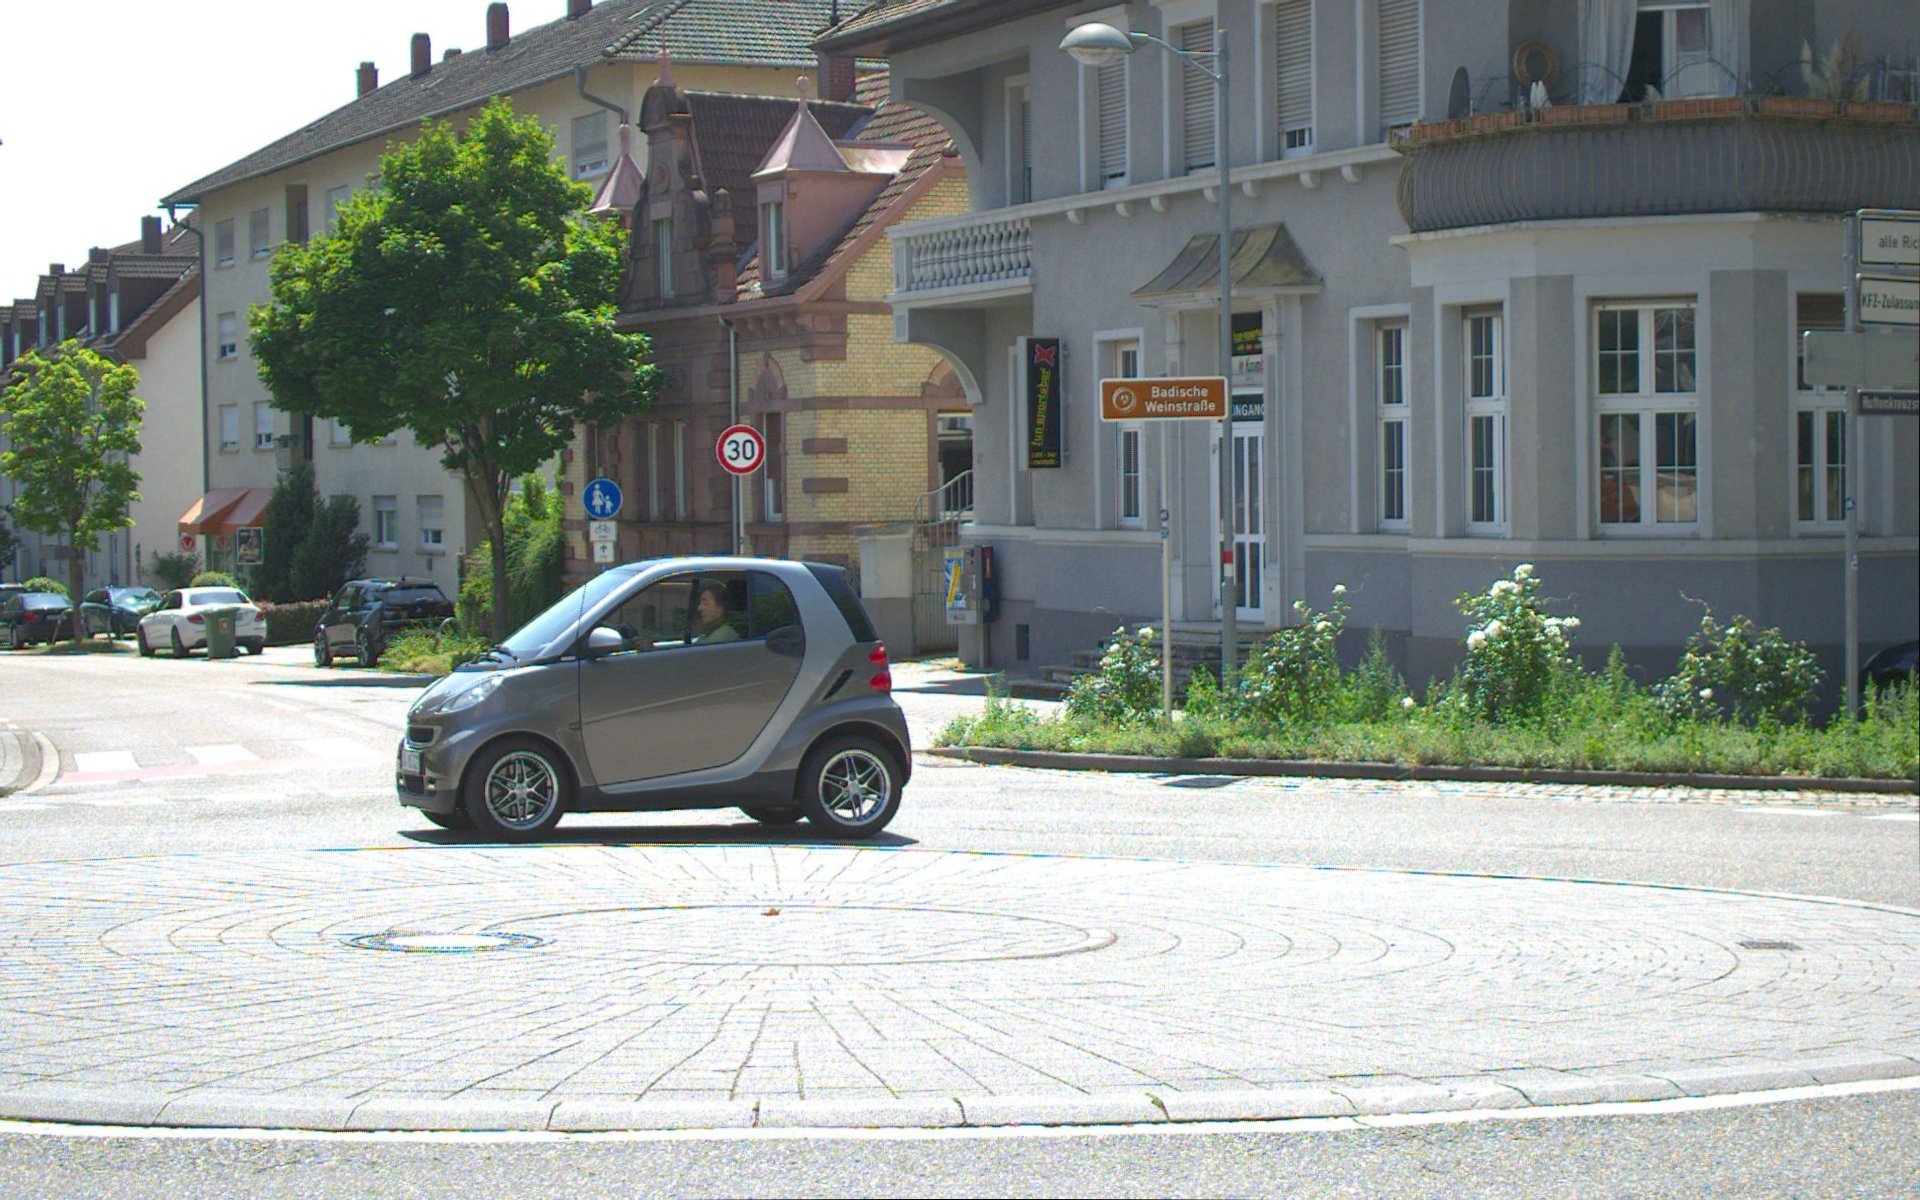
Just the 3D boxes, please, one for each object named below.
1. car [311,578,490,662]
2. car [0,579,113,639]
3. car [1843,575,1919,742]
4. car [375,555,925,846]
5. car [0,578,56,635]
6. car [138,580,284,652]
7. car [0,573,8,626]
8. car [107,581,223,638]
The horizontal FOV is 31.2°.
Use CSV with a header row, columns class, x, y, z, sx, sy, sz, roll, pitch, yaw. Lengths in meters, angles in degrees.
class,x,y,z,sx,sy,sz,roll,pitch,yaw
car,-10.372,0.339,63.492,1.993,1.504,4.419,0,0,-28
car,-23.146,0.207,87.676,1.993,1.504,4.419,0,0,-28
car,9.611,0.515,29.571,1.718,1.455,3.793,0,0,-31
car,-1.757,0.520,19.189,2.779,1.525,1.570,0,0,-18
car,-25.984,0.159,93.036,1.993,1.504,4.419,0,0,-28
car,-16.195,0.313,74.212,1.993,1.504,4.419,0,0,-28
car,-28.561,-0.027,97.731,1.993,1.504,4.419,0,0,-28
car,-21.471,0.242,92.758,1.993,1.504,4.419,0,0,-28
